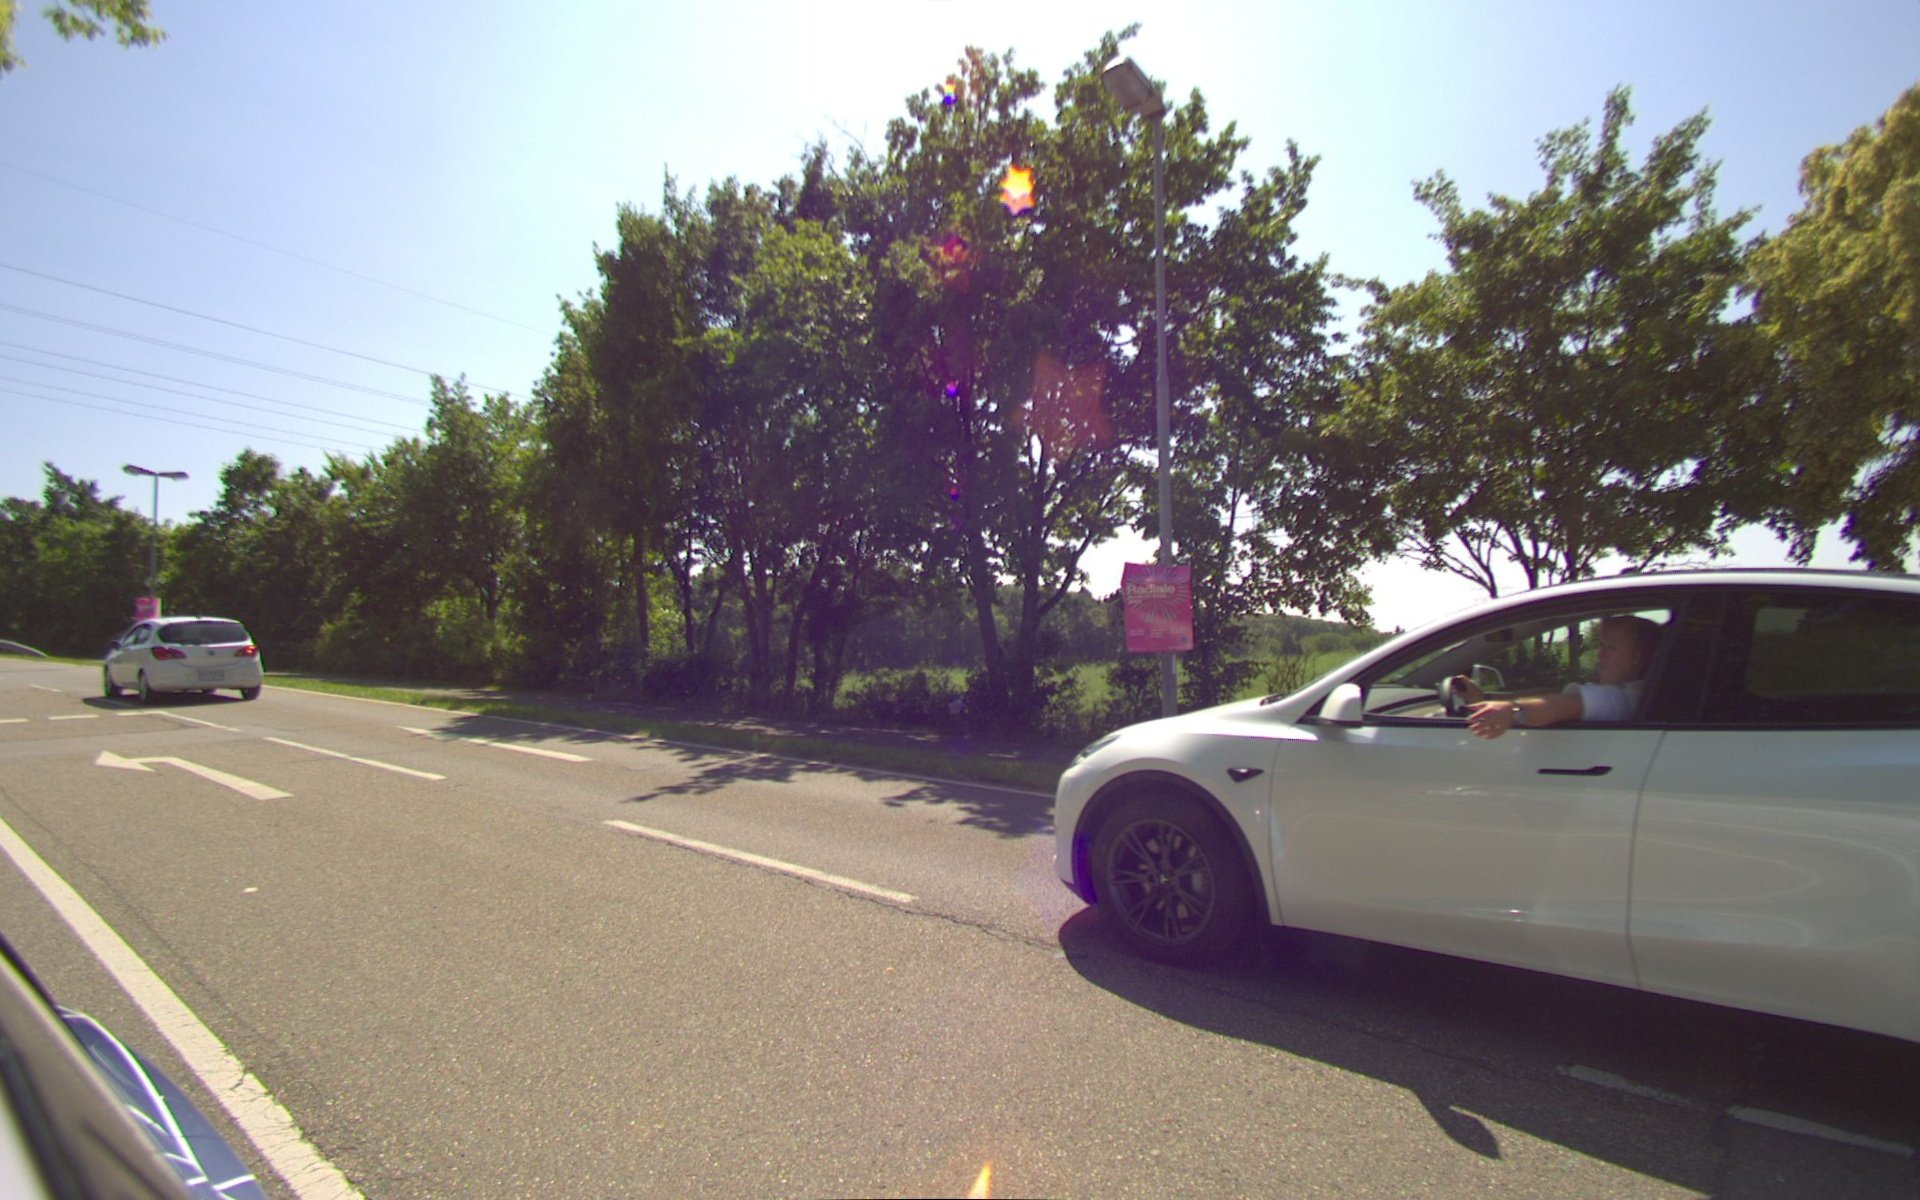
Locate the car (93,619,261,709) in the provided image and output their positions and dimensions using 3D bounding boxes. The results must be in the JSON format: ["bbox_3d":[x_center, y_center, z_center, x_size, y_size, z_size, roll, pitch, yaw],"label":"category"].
[{"bbox_3d":[-14.295,1.105,18.418,3.893,1.445,1.632,-2,-2,40],"label":"car"}]

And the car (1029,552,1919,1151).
[{"bbox_3d":[2.611,0.691,3.846,4.468,1.584,1.857,-2,-2,40],"label":"car"}]
